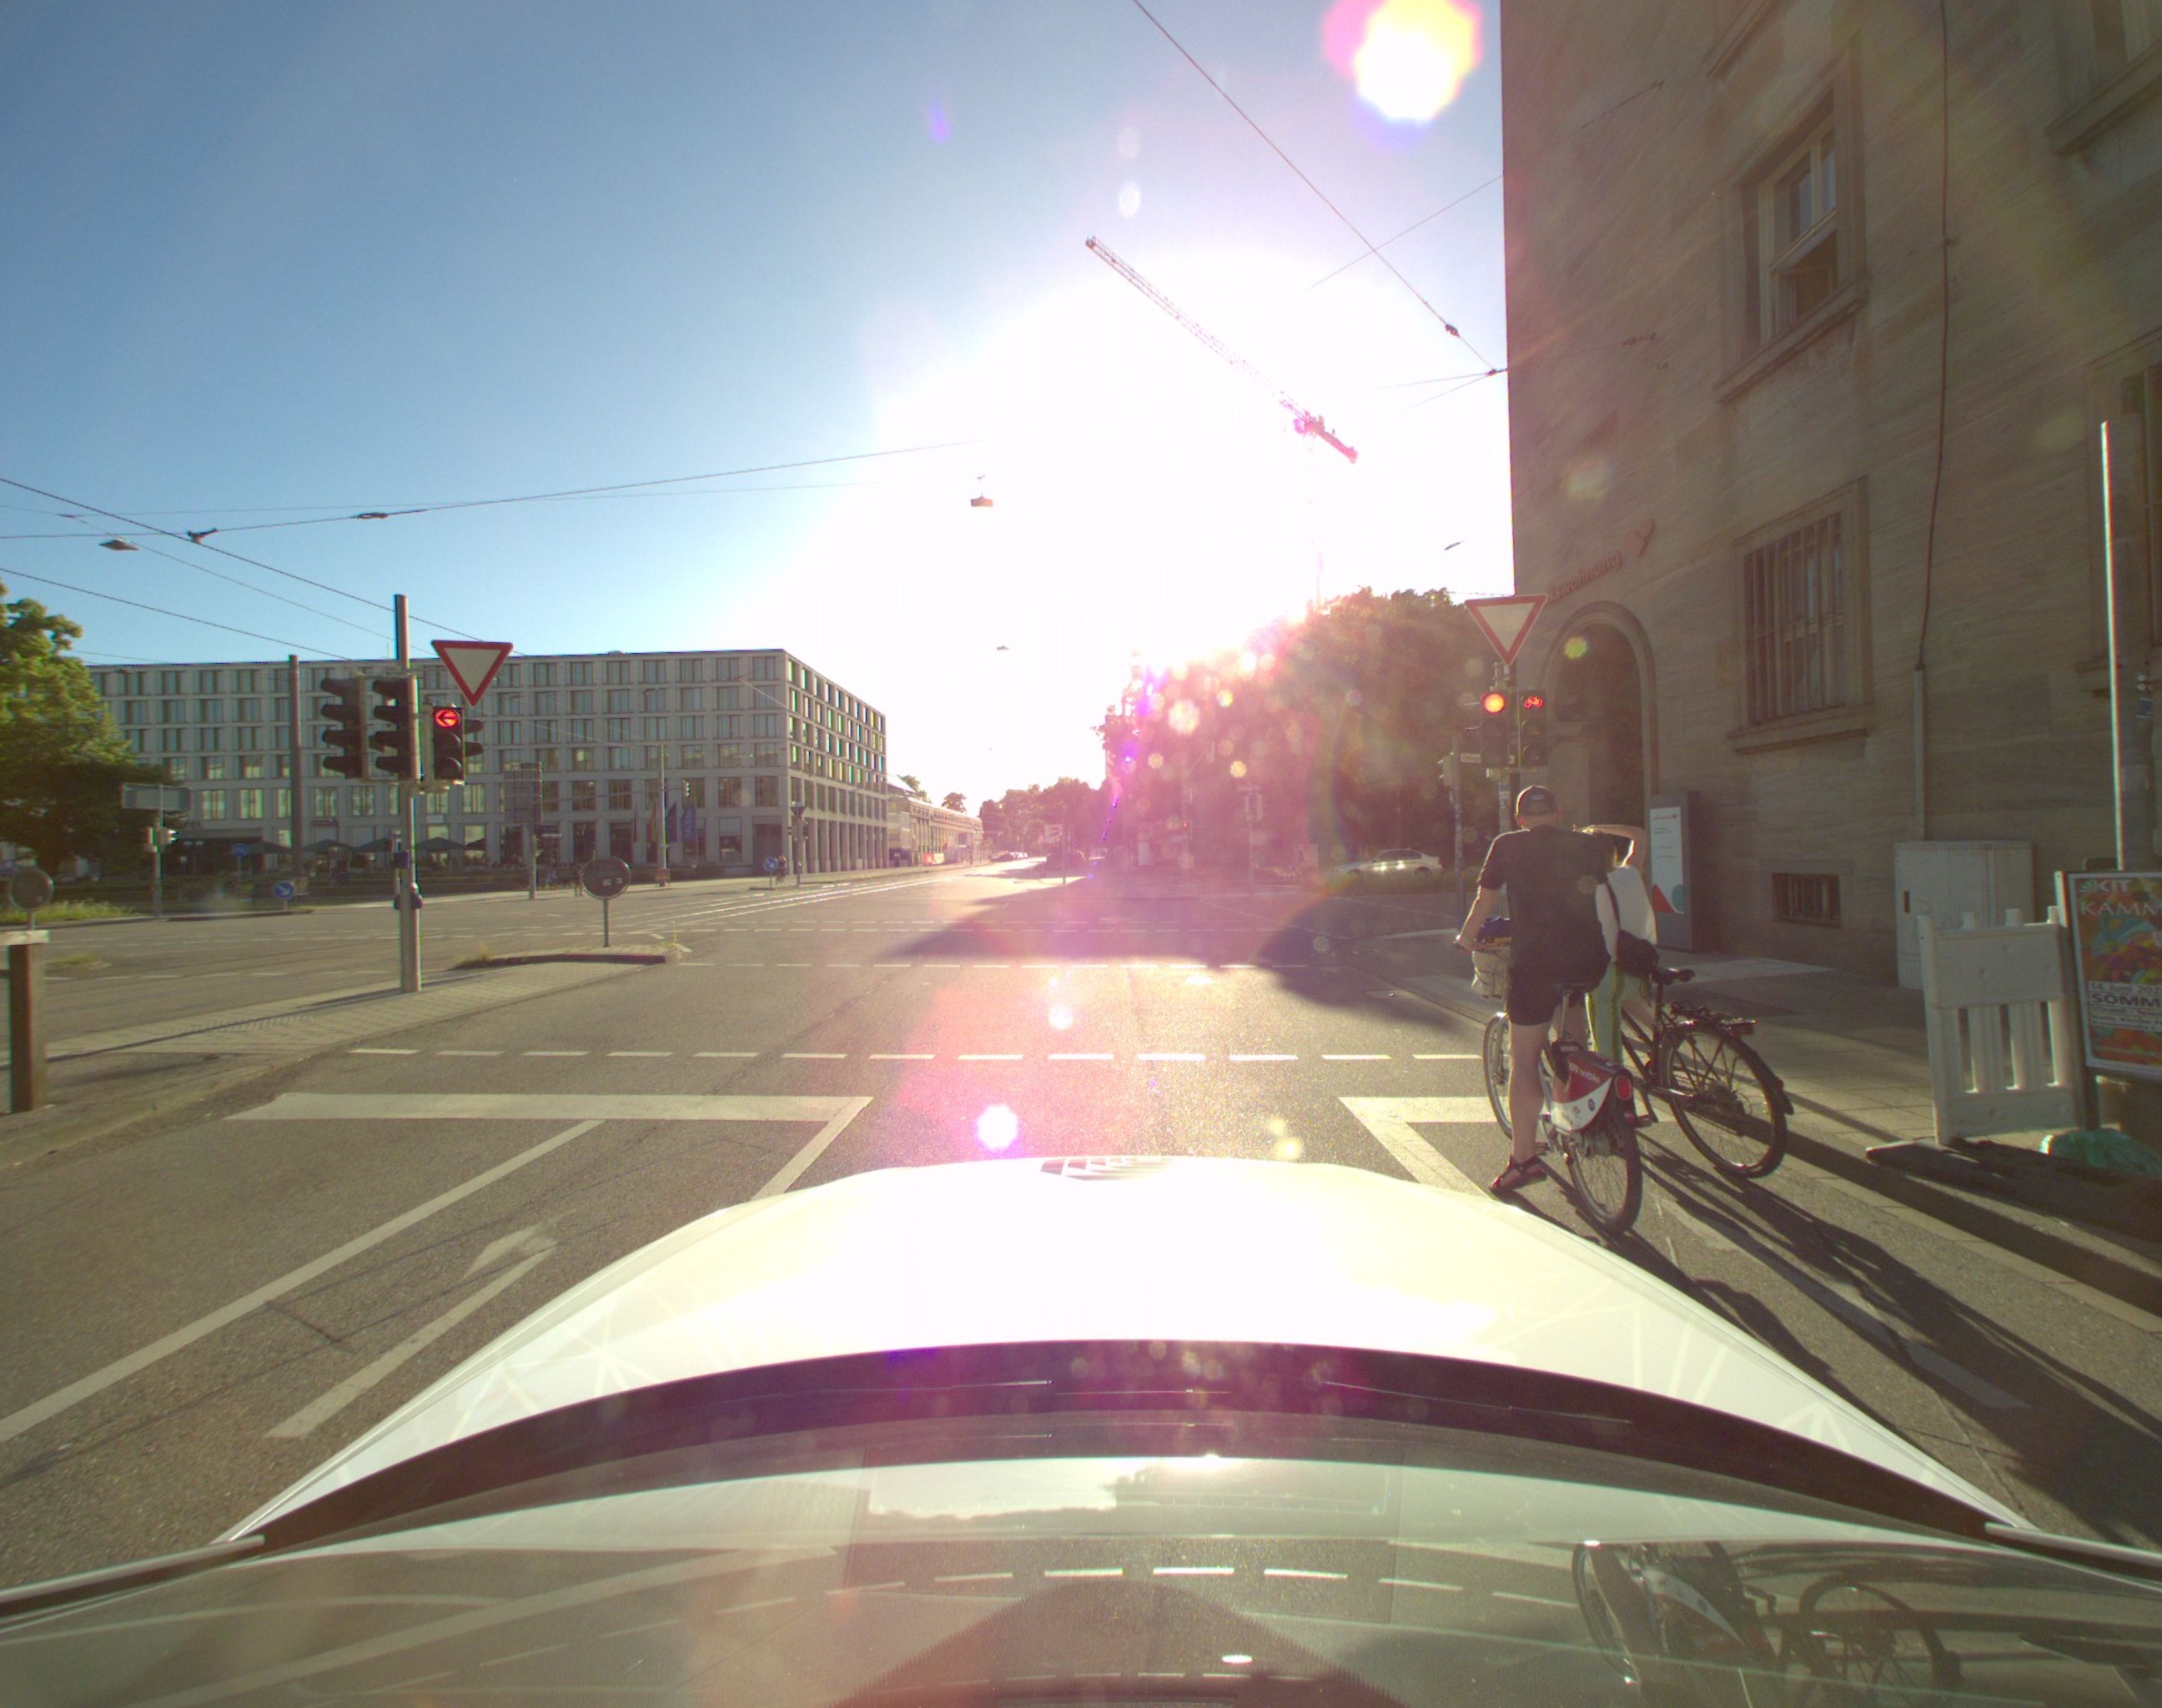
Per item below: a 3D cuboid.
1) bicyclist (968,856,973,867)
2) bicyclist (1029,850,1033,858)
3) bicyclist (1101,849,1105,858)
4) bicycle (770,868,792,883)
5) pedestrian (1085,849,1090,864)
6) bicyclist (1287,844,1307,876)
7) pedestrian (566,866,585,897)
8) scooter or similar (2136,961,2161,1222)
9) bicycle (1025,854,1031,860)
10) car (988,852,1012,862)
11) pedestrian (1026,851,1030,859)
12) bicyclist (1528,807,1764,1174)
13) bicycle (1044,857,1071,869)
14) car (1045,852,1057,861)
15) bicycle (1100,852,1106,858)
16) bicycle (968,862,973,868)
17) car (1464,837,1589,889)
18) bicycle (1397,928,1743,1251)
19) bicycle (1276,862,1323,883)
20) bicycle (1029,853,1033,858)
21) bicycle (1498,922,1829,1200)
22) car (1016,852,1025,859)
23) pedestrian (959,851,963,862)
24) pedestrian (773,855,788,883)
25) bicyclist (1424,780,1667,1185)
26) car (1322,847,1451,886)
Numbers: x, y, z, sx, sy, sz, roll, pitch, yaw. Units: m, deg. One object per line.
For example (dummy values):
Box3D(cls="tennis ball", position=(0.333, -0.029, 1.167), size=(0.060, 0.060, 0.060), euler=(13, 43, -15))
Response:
Box3D(cls="bicyclist", position=(-16.192, 1.088, 119.041), size=(0.492, 1.498, 0.667), euler=(-2, 0, 4))
Box3D(cls="bicyclist", position=(-11.882, 0.002, 194.237), size=(0.748, 1.920, 1.214), euler=(0, -1, 1))
Box3D(cls="bicyclist", position=(5.071, -0.165, 188.966), size=(0.891, 2.014, 0.746), euler=(0, -1, -10))
Box3D(cls="bicycle", position=(-18.007, 1.282, 48.877), size=(0.569, 0.823, 1.720), euler=(-2, 0, 3))
Box3D(cls="pedestrian", position=(0.799, 0.286, 97.880), size=(0.576, 1.689, 0.584), euler=(-2, 0, -6))
Box3D(cls="bicyclist", position=(9.624, 0.263, 36.293), size=(0.742, 1.406, 0.704), euler=(-1, -1, 8))
Box3D(cls="pedestrian", position=(-28.259, 1.526, 45.520), size=(0.600, 1.681, 0.608), euler=(-2, 0, 9))
Box3D(cls="scooter or similar", position=(3.247, 0.874, 1.755), size=(0.568, 1.150, 1.279), euler=(-4, -2, 23))
Box3D(cls="bicycle", position=(-12.282, 0.678, 188.817), size=(0.746, 1.205, 3.114), euler=(0, -1, 7))
Box3D(cls="car", position=(-14.228, 0.587, 143.757), size=(1.974, 1.599, 4.026), euler=(-2, 0, 38))
Box3D(cls="pedestrian", position=(-12.268, 0.230, 188.868), size=(0.746, 2.063, 1.052), euler=(0, -1, 7))
Box3D(cls="bicyclist", position=(2.960, 0.654, 4.367), size=(0.581, 1.738, 0.951), euler=(-2, 0, 2))
Box3D(cls="bicycle", position=(-1.945, 0.742, 67.434), size=(2.240, 0.940, 0.653), euler=(-2, 0, -4))
Box3D(cls="car", position=(-5.717, 0.558, 155.461), size=(1.986, 1.640, 4.001), euler=(0, -1, 2))
Box3D(cls="bicycle", position=(5.061, 0.234, 189.070), size=(0.890, 1.219, 2.784), euler=(0, -1, -9))
Box3D(cls="bicycle", position=(-16.182, 1.542, 118.995), size=(0.492, 0.839, 1.158), euler=(-2, 0, 4))
Box3D(cls="car", position=(17.887, 0.347, 32.853), size=(3.970, 2.014, 2.002), euler=(0, -1, 3))
Box3D(cls="bicycle", position=(2.188, 0.970, 3.955), size=(0.621, 1.044, 1.747), euler=(-2, 0, 1))
Box3D(cls="bicycle", position=(9.717, 0.826, 36.280), size=(1.932, 0.889, 0.719), euler=(-1, -1, 8))
Box3D(cls="bicycle", position=(-11.875, 0.390, 194.352), size=(0.748, 1.205, 3.108), euler=(0, -1, 1))
Box3D(cls="bicycle", position=(2.969, 0.969, 4.400), size=(0.579, 1.044, 1.748), euler=(-2, 0, 3))
Box3D(cls="car", position=(-14.442, 0.310, 195.322), size=(1.988, 1.644, 3.998), euler=(-2, 0, -1))
Box3D(cls="pedestrian", position=(-20.009, 0.379, 135.946), size=(0.582, 1.889, 0.481), euler=(-1, -1, 34))
Box3D(cls="pedestrian", position=(-18.020, 0.892, 48.854), size=(0.569, 1.595, 0.745), euler=(-2, 0, 3))
Box3D(cls="bicyclist", position=(2.181, 0.550, 3.944), size=(0.621, 1.715, 0.913), euler=(-2, 0, 1))
Box3D(cls="car", position=(12.440, 0.501, 33.411), size=(4.559, 1.516, 2.001), euler=(0, -1, 1))
